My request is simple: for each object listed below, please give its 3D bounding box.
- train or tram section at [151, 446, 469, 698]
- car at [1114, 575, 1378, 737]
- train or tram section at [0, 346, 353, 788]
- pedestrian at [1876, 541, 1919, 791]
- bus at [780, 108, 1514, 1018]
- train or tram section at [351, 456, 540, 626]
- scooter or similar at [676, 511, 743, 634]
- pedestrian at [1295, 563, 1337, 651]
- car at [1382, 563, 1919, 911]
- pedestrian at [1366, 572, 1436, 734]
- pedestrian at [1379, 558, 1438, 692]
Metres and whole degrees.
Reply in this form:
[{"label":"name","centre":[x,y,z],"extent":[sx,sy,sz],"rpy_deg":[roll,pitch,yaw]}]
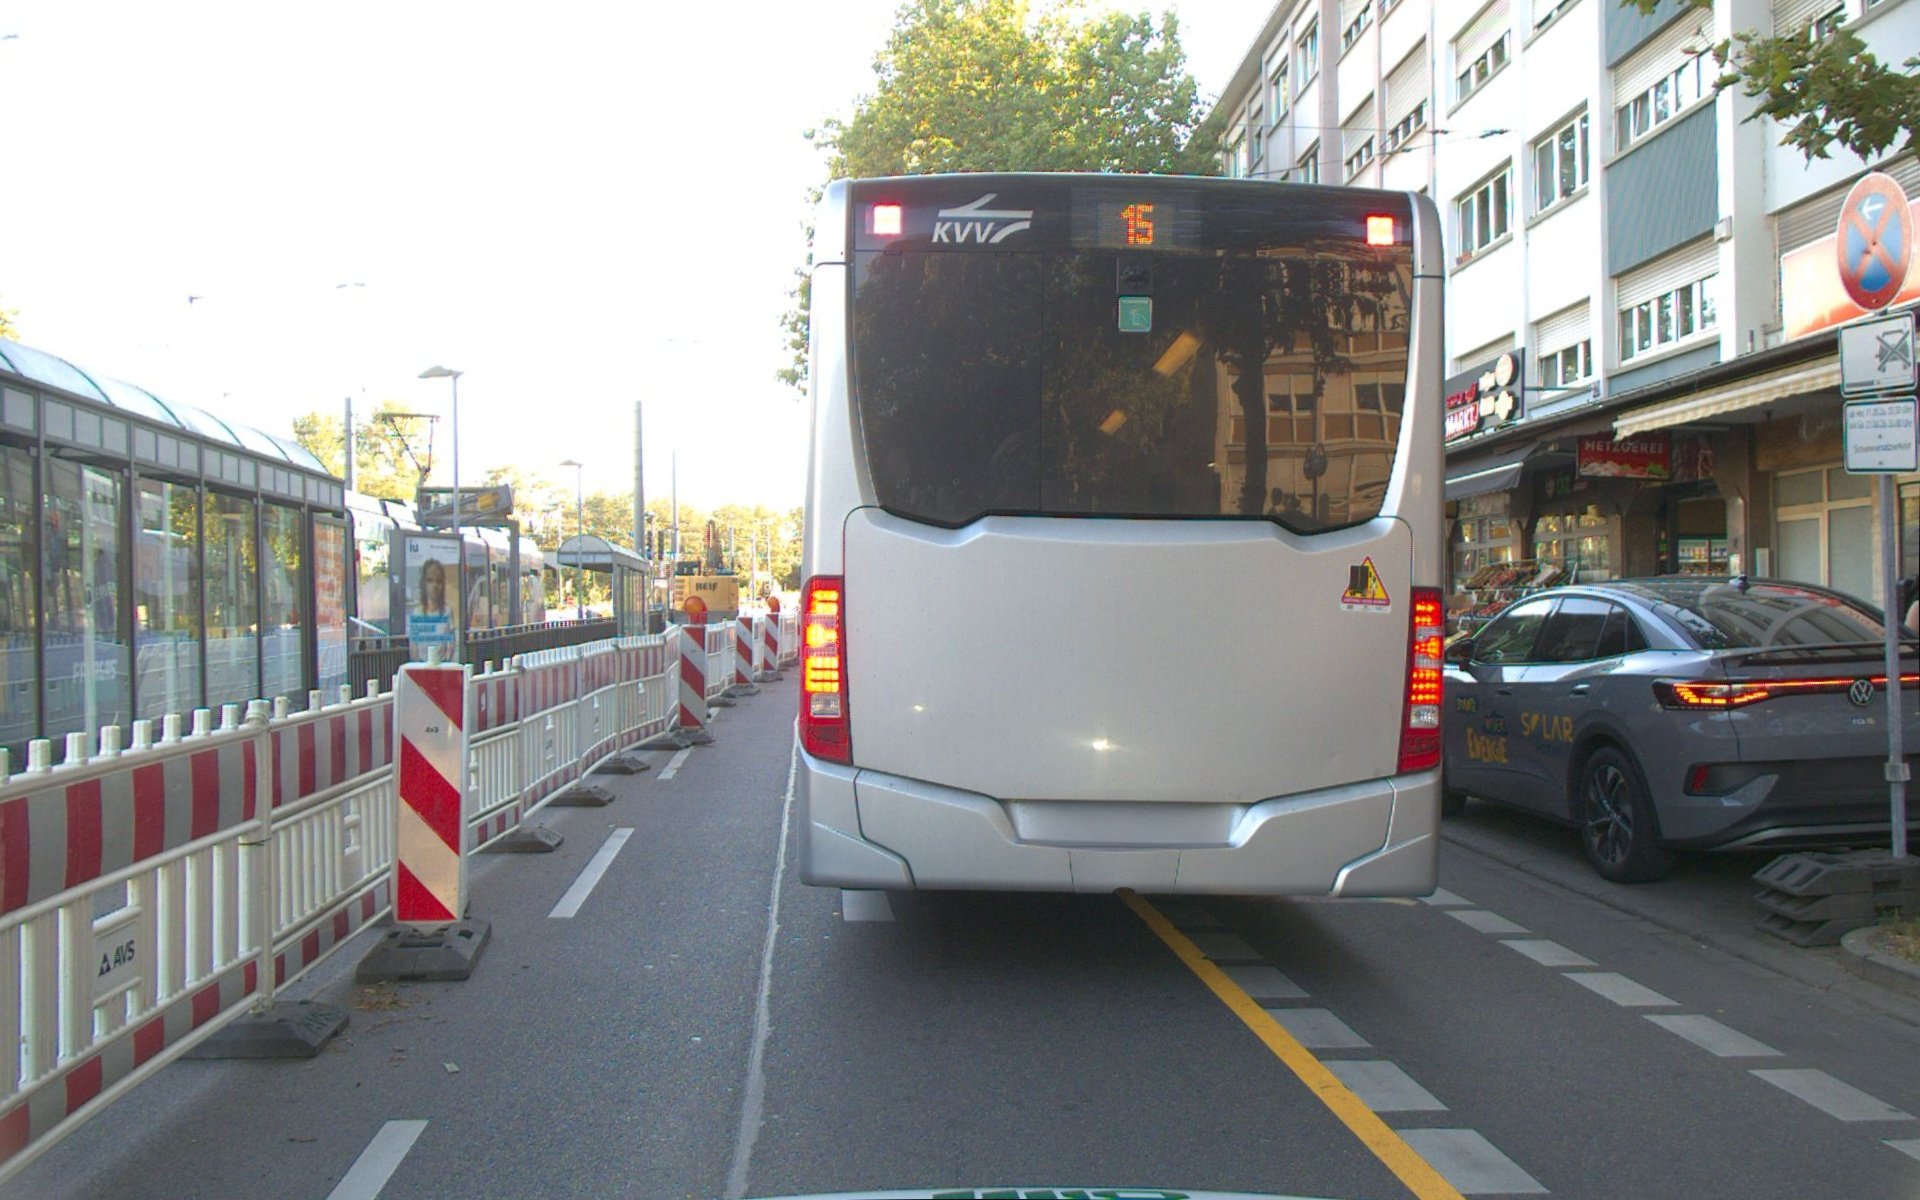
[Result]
[{"label":"train or tram section","centre":[-11.154,-0.381,29.828],"extent":[2.636,3.621,11.560],"rpy_deg":[1,0,-8]},{"label":"car","centre":[3.228,0.574,19.622],"extent":[1.955,1.609,4.363],"rpy_deg":[-3,1,-5]},{"label":"train or tram section","centre":[-9.647,-0.347,18.298],"extent":[2.635,3.595,11.757],"rpy_deg":[1,1,-6]},{"label":"pedestrian","centre":[6.694,0.438,11.143],"extent":[0.570,1.675,0.796],"rpy_deg":[-1,0,-3]},{"label":"bus","centre":[0.618,-0.120,9.881],"extent":[2.558,3.181,7.991],"rpy_deg":[1,0,-1]},{"label":"train or tram section","centre":[-12.497,-1.255,41.287],"extent":[2.636,3.594,11.559],"rpy_deg":[1,0,-8]},{"label":"scooter or similar","centre":[-9.737,-1.023,64.616],"extent":[2.422,4.549,5.962],"rpy_deg":[0,0,-8]},{"label":"pedestrian","centre":[7.719,0.149,35.866],"extent":[0.672,1.869,0.785],"rpy_deg":[-1,0,-4]},{"label":"car","centre":[4.345,0.632,10.228],"extent":[1.955,1.609,4.363],"rpy_deg":[-3,1,-5]},{"label":"pedestrian","centre":[4.758,0.566,17.847],"extent":[0.649,1.696,0.601],"rpy_deg":[-2,-1,15]},{"label":"pedestrian","centre":[6.974,0.383,25.747],"extent":[0.672,2.049,0.786],"rpy_deg":[-1,0,-1]}]
